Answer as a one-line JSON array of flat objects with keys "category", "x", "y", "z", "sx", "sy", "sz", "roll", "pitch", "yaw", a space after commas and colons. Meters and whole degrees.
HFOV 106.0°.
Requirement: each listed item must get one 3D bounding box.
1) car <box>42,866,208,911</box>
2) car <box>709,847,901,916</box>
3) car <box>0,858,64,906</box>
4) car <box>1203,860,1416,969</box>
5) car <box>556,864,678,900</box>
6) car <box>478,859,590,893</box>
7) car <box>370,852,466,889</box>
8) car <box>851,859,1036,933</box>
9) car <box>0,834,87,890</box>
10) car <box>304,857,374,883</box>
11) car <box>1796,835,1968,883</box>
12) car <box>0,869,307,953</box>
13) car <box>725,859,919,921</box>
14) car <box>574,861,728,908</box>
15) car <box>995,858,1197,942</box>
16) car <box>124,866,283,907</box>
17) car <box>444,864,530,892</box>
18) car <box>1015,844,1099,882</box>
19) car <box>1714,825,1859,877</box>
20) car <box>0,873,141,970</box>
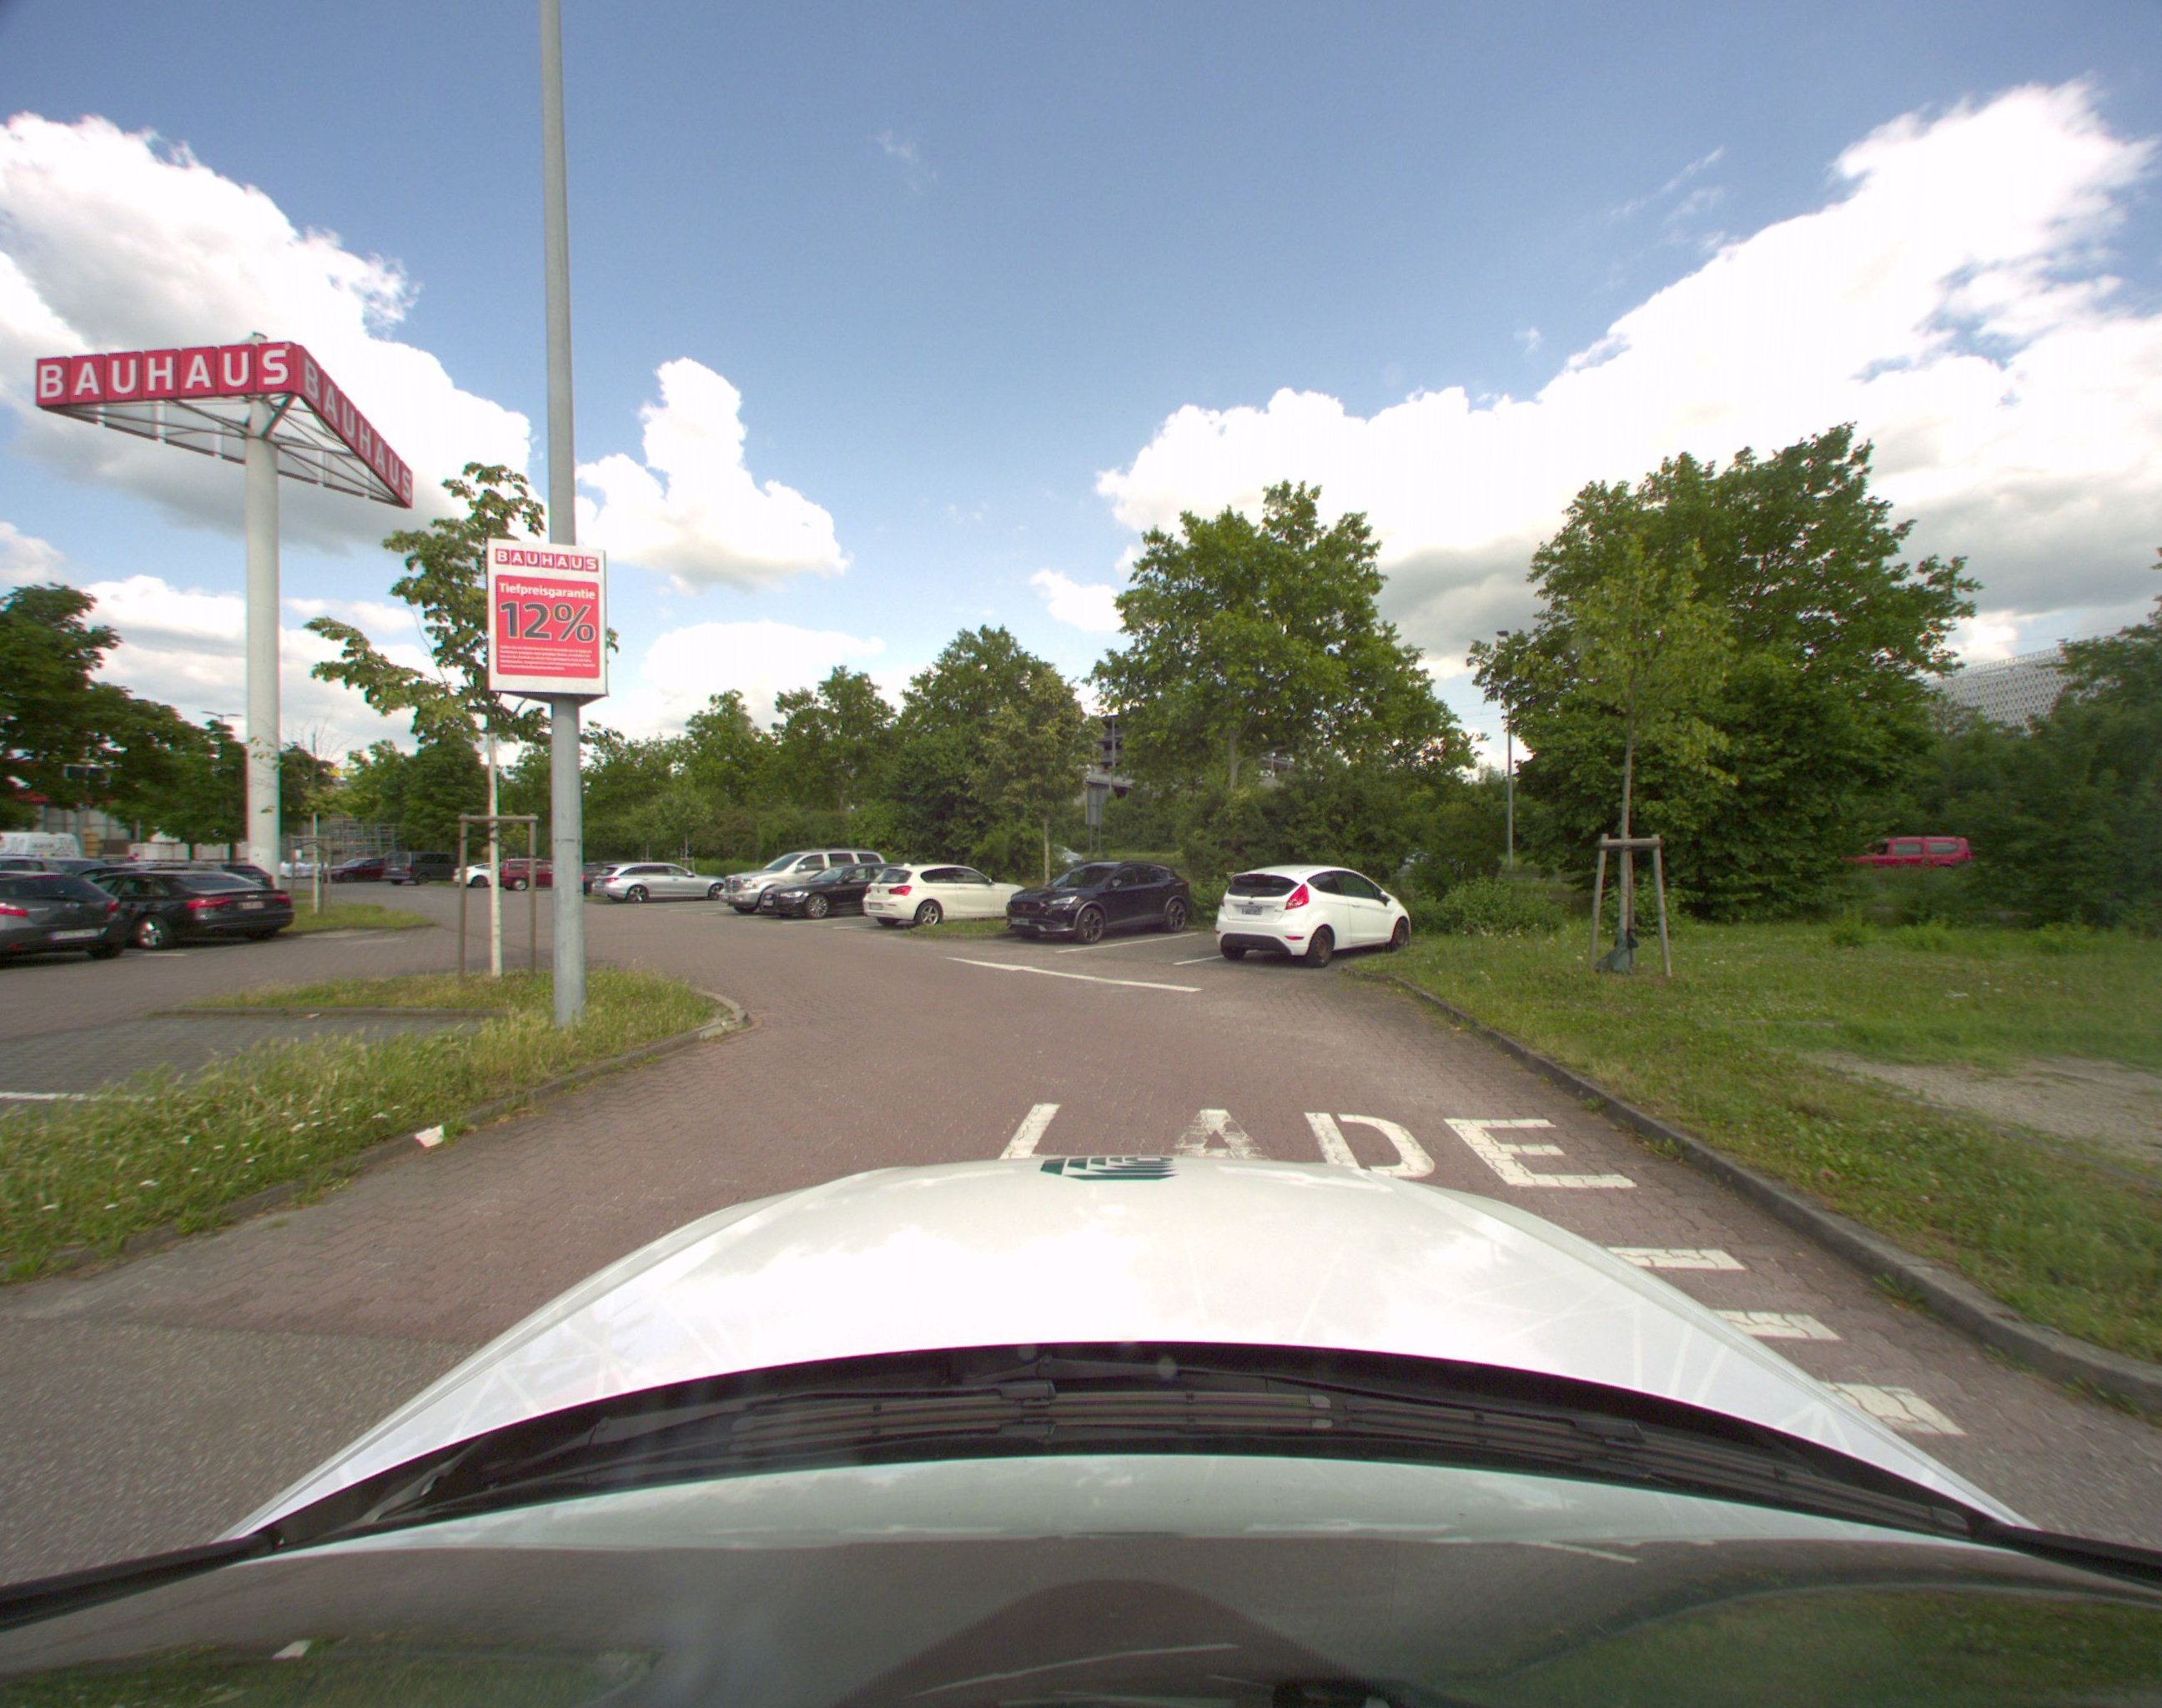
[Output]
[{"category": "car", "x": -32.698, "y": 1.160, "z": 27.917, "sx": 3.745, "sy": 1.446, "sz": 1.727, "roll": 0, "pitch": 0, "yaw": 3}, {"category": "car", "x": -8.167, "y": 0.729, "z": 24.523, "sx": 1.965, "sy": 1.842, "sz": 5.180, "roll": 0, "pitch": 0, "yaw": 41}, {"category": "car", "x": -38.638, "y": 0.971, "z": 28.508, "sx": 3.967, "sy": 1.596, "sz": 1.913, "roll": -1, "pitch": 0, "yaw": 5}, {"category": "car", "x": 3.709, "y": 0.840, "z": 12.945, "sx": 3.578, "sy": 1.411, "sz": 1.650, "roll": -1, "pitch": 0, "yaw": -43}, {"category": "car", "x": -19.038, "y": 1.164, "z": 33.546, "sx": 1.677, "sy": 1.381, "sz": 4.024, "roll": -3, "pitch": -3, "yaw": 41}, {"category": "car", "x": -27.718, "y": 1.061, "z": 41.355, "sx": 1.974, "sy": 1.596, "sz": 4.347, "roll": 0, "pitch": 0, "yaw": 40}, {"category": "car", "x": -38.981, "y": 0.983, "z": 48.010, "sx": 1.928, "sy": 2.019, "sz": 4.070, "roll": -1, "pitch": -2, "yaw": 12}, {"category": "car", "x": -3.172, "y": 0.916, "z": 19.323, "sx": 1.669, "sy": 1.509, "sz": 4.106, "roll": -2, "pitch": -1, "yaw": 45}, {"category": "car", "x": -49.289, "y": 0.365, "z": 37.580, "sx": 4.687, "sy": 2.510, "sz": 2.057, "roll": 0, "pitch": -1, "yaw": 7}, {"category": "car", "x": -43.730, "y": 0.985, "z": 48.046, "sx": 1.340, "sy": 1.432, "sz": 2.700, "roll": -1, "pitch": -3, "yaw": 16}, {"category": "car", "x": 30.267, "y": 0.167, "z": 30.974, "sx": 4.537, "sy": 1.669, "sz": 2.012, "roll": 0, "pitch": 0, "yaw": 43}, {"category": "car", "x": -17.663, "y": 1.038, "z": 15.551, "sx": 4.500, "sy": 1.432, "sz": 1.776, "roll": -1, "pitch": 0, "yaw": 9}, {"category": "car", "x": -6.930, "y": 0.894, "z": 22.220, "sx": 1.816, "sy": 1.451, "sz": 4.753, "roll": 0, "pitch": 0, "yaw": 43}, {"category": "car", "x": -15.723, "y": 1.056, "z": 29.982, "sx": 1.762, "sy": 1.504, "sz": 4.683, "roll": 0, "pitch": 0, "yaw": 41}, {"category": "car", "x": 0.428, "y": 0.823, "z": 16.458, "sx": 1.711, "sy": 1.410, "sz": 4.269, "roll": 0, "pitch": 0, "yaw": 42}, {"category": "car", "x": -32.787, "y": 1.189, "z": 30.497, "sx": 4.060, "sy": 1.439, "sz": 1.830, "roll": 0, "pitch": 0, "yaw": 3}, {"category": "car", "x": -33.551, "y": 1.357, "z": 46.083, "sx": 1.613, "sy": 1.468, "sz": 3.667, "roll": -2, "pitch": -2, "yaw": 42}, {"category": "car", "x": -1.359, "y": 0.551, "z": 44.885, "sx": 4.438, "sy": 2.014, "sz": 1.930, "roll": -1, "pitch": -3, "yaw": 39}, {"category": "car", "x": 26.522, "y": -0.118, "z": 30.696, "sx": 2.011, "sy": 1.808, "sz": 3.951, "roll": -1, "pitch": 0, "yaw": -44}, {"category": "car", "x": -17.574, "y": 1.019, "z": 12.820, "sx": 3.967, "sy": 1.369, "sz": 1.582, "roll": -1, "pitch": 0, "yaw": 5}]
